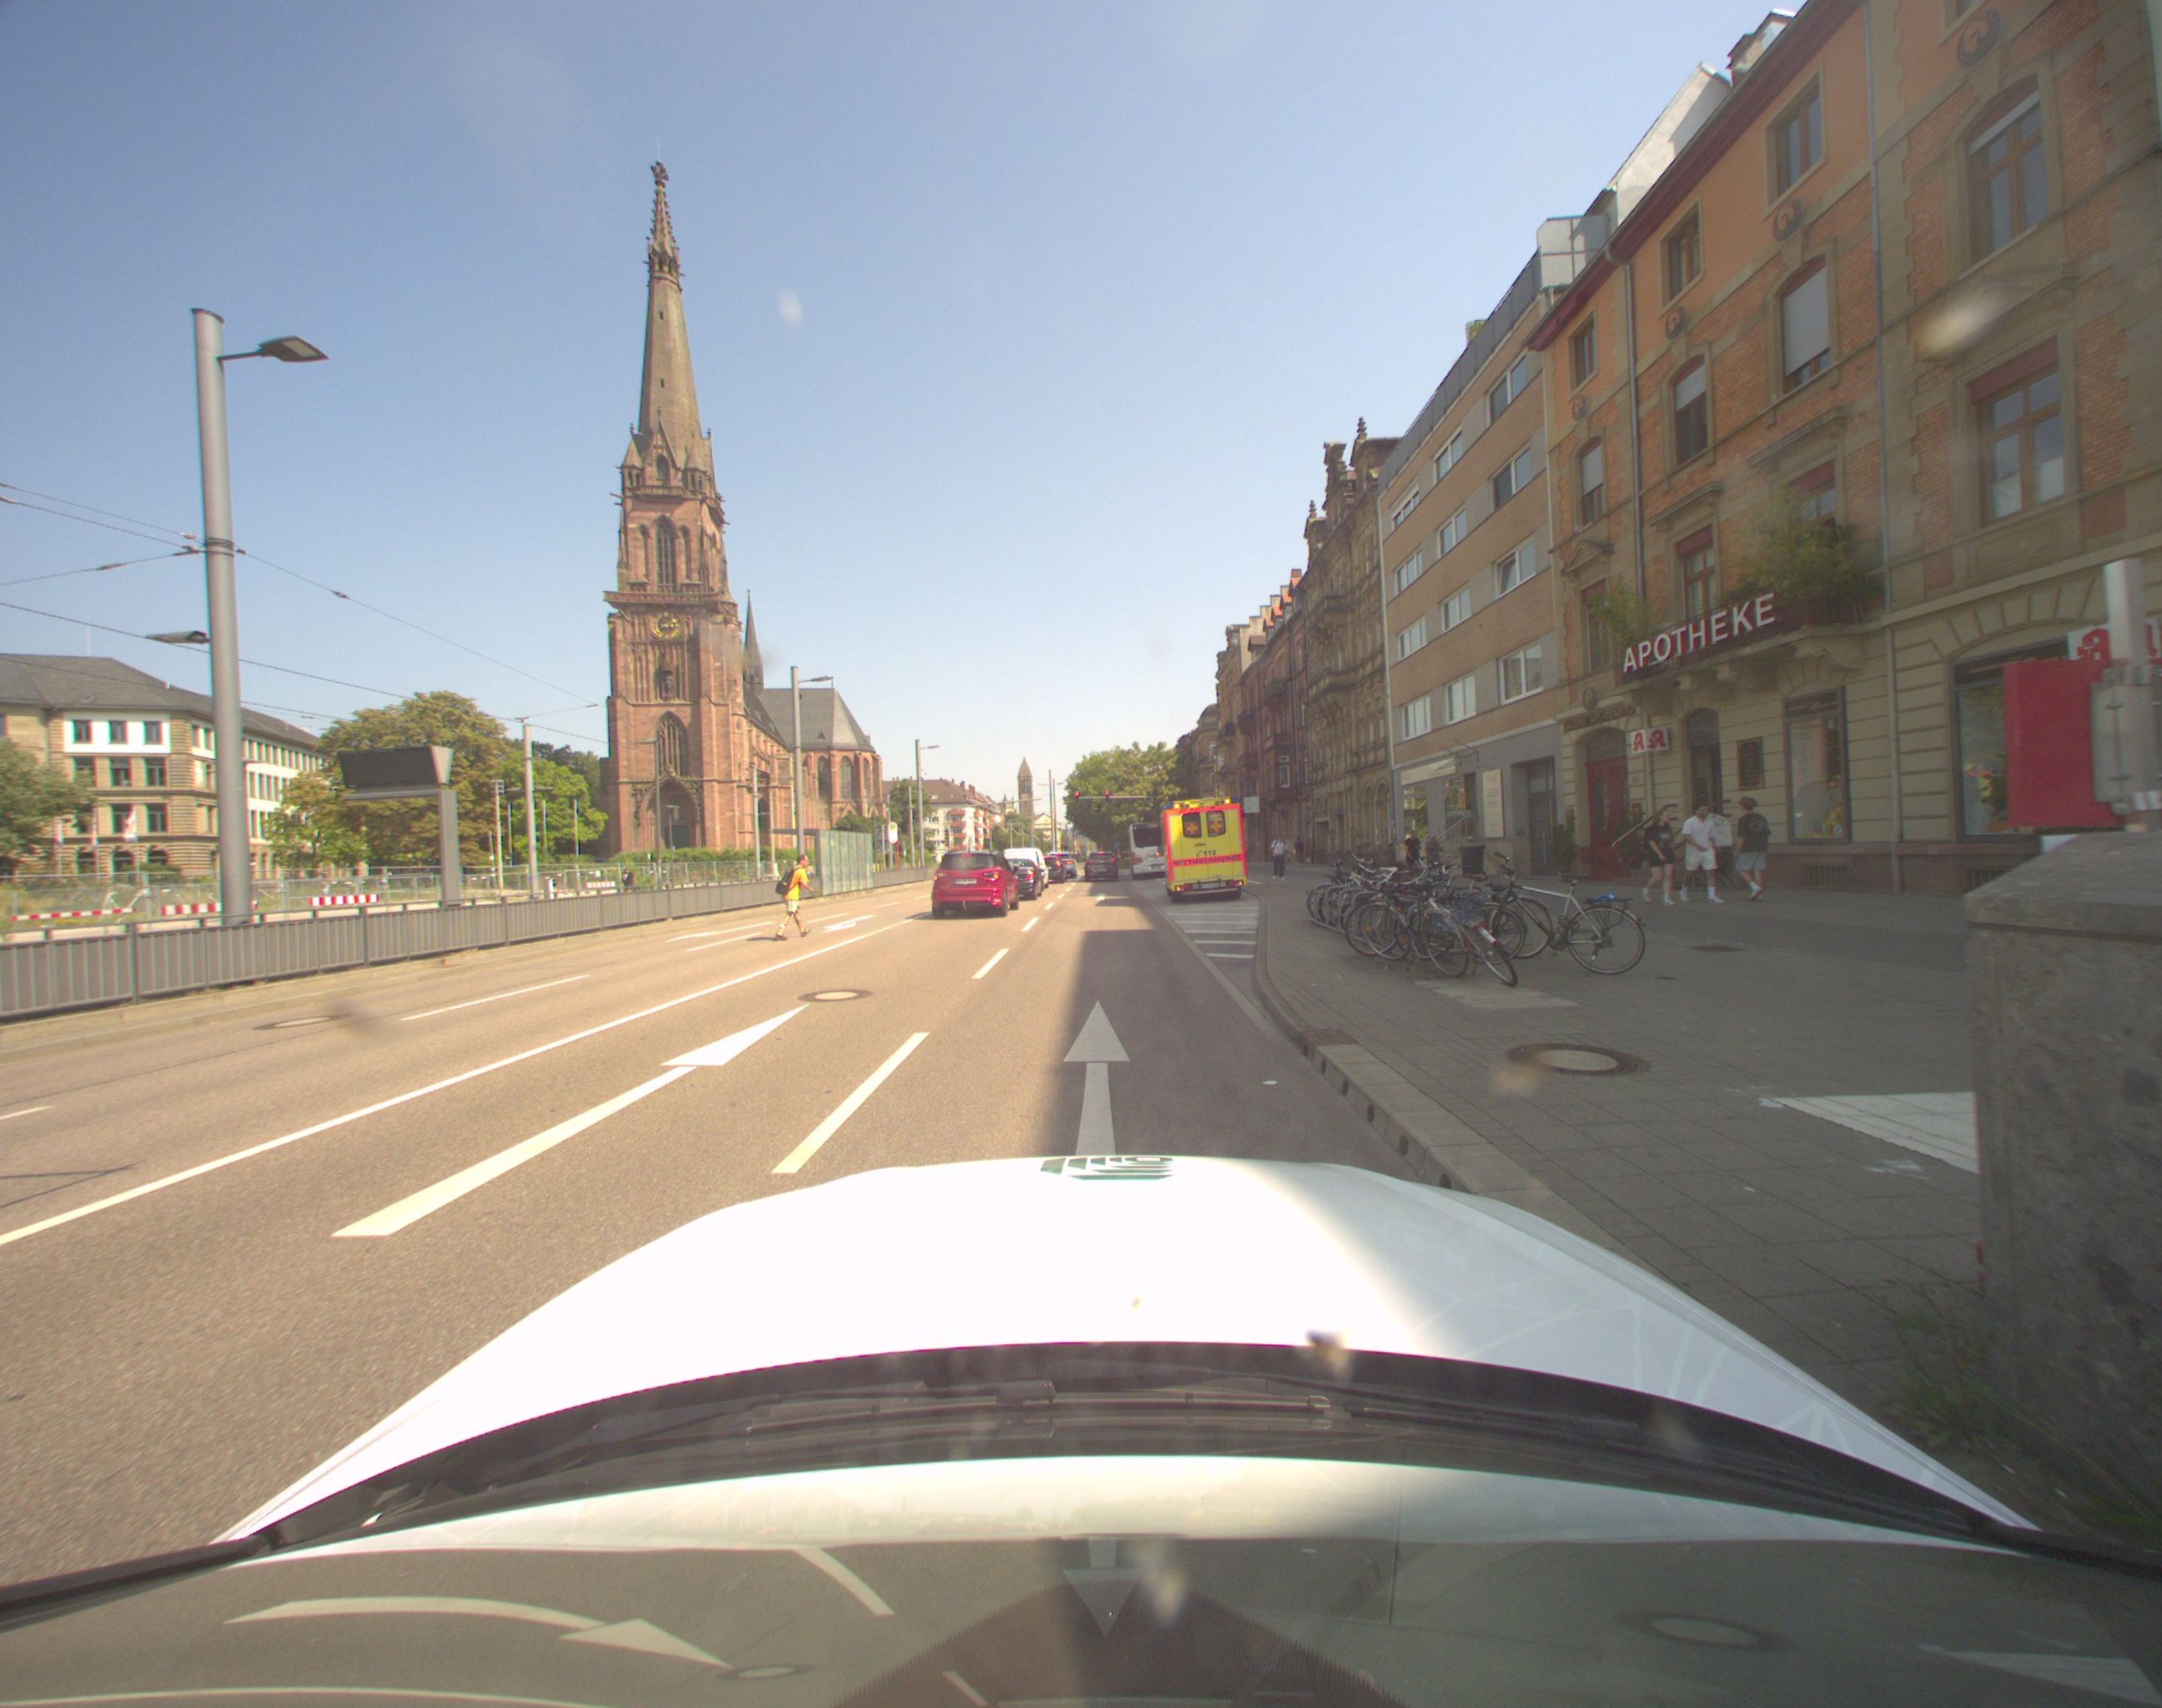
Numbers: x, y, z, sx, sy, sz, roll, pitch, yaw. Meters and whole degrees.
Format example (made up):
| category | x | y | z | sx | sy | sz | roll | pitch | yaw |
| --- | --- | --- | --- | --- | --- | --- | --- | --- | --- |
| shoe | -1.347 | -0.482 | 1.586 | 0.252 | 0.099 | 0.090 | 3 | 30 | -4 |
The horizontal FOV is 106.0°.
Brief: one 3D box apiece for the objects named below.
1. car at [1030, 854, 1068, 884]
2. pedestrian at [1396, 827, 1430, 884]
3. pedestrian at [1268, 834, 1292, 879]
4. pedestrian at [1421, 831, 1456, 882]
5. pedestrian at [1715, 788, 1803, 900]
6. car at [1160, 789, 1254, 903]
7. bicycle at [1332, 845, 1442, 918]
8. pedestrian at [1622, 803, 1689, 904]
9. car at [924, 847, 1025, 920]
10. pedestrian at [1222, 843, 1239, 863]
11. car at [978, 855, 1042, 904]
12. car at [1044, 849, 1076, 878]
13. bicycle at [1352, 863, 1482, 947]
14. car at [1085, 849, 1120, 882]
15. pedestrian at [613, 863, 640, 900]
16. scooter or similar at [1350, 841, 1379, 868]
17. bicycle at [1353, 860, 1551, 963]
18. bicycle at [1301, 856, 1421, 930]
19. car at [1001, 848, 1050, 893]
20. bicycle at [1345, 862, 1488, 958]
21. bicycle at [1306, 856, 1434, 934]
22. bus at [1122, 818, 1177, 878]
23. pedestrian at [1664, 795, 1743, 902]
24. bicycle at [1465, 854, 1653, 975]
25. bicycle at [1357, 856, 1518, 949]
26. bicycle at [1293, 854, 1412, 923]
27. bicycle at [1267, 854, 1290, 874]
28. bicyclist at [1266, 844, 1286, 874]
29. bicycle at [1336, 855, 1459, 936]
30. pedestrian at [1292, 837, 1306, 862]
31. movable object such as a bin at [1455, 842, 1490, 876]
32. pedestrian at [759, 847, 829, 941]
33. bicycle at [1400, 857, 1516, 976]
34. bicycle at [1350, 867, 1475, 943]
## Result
| category | x | y | z | sx | sy | sz | roll | pitch | yaw |
| --- | --- | --- | --- | --- | --- | --- | --- | --- | --- |
| car | -1.671 | 0.791 | 43.719 | 1.784 | 1.472 | 3.999 | -2 | -1 | 0 |
| pedestrian | 10.111 | 0.043 | 24.836 | 0.641 | 1.685 | 0.789 | -3 | 0 | 1 |
| pedestrian | 7.500 | 0.081 | 30.739 | 0.690 | 1.667 | 0.606 | -2 | 0 | 27 |
| pedestrian | 10.834 | 0.083 | 24.689 | 0.641 | 1.493 | 0.789 | -3 | 0 | 1 |
| pedestrian | 11.743 | -0.167 | 14.125 | 0.840 | 1.846 | 0.684 | -4 | 0 | -8 |
| car | 3.608 | -0.228 | 24.461 | 2.288 | 2.888 | 5.608 | -4 | 0 | 5 |
| bicycle | 5.338 | 0.473 | 14.264 | 1.665 | 1.215 | 0.645 | -2 | 0 | 6 |
| pedestrian | 10.348 | -0.008 | 14.689 | 0.575 | 1.750 | 0.679 | -5 | 0 | 1 |
| car | -2.589 | 0.669 | 20.761 | 1.755 | 1.618 | 4.086 | -3 | 0 | 3 |
| pedestrian | 13.879 | -0.134 | 75.561 | 1.244 | 1.751 | 1.527 | -3 | 2 | 2 |
| car | -2.368 | 0.817 | 27.959 | 1.784 | 1.431 | 3.999 | -3 | 0 | 0 |
| car | -1.295 | 0.593 | 51.546 | 1.784 | 1.698 | 3.999 | -2 | -1 | 0 |
| bicycle | 4.391 | 0.660 | 10.686 | 1.531 | 1.016 | 0.365 | -2 | 1 | 1 |
| car | 1.129 | 0.617 | 45.024 | 1.784 | 1.677 | 3.999 | -2 | -1 | 0 |
| pedestrian | -22.458 | 1.358 | 40.260 | 0.826 | 1.752 | 0.721 | -3 | -1 | 2 |
| scooter or similar | 12.860 | 0.034 | 36.965 | 0.514 | 1.196 | 1.296 | -2 | 0 | -18 |
| bicycle | 4.228 | 0.639 | 9.322 | 2.116 | 1.071 | 0.381 | -2 | 1 | -3 |
| bicycle | 4.408 | 0.602 | 12.877 | 1.652 | 1.072 | 0.644 | -2 | 0 | 1 |
| car | -2.343 | 0.694 | 35.381 | 1.784 | 1.780 | 3.999 | -2 | -1 | 0 |
| bicycle | 3.984 | 0.655 | 9.706 | 1.531 | 1.071 | 0.365 | -2 | 1 | 1 |
| bicycle | 4.281 | 0.593 | 12.132 | 1.652 | 1.071 | 0.644 | -2 | 1 | 1 |
| bus | 3.934 | -0.319 | 49.425 | 2.524 | 3.031 | 12.440 | -3 | 0 | 2 |
| pedestrian | 11.003 | -0.101 | 14.427 | 0.597 | 1.795 | 0.880 | -5 | 0 | 1 |
| bicycle | 4.916 | 0.582 | 8.432 | 1.544 | 1.119 | 0.696 | -1 | 1 | 43 |
| bicycle | 4.434 | 0.595 | 10.166 | 1.828 | 1.071 | 0.365 | -2 | 1 | 1 |
| bicycle | 4.506 | 0.567 | 13.608 | 1.767 | 1.072 | 0.645 | -2 | 0 | 6 |
| bicycle | 9.037 | 0.448 | 37.360 | 0.587 | 0.855 | 1.775 | -3 | 0 | 0 |
| bicyclist | 8.982 | 0.235 | 37.581 | 0.750 | 1.322 | 0.582 | -3 | 0 | 1 |
| bicycle | 4.468 | 0.579 | 11.538 | 1.531 | 1.071 | 0.472 | -2 | 1 | 1 |
| pedestrian | 13.816 | -0.278 | 51.609 | 0.621 | 1.593 | 0.695 | -3 | 0 | -4 |
| movable object such as a bin | 12.616 | 0.174 | 26.248 | 0.651 | 1.047 | 0.755 | -3 | 0 | -42 |
| pedestrian | -5.622 | 0.767 | 15.962 | 1.073 | 1.752 | 0.755 | -2 | -1 | -34 |
| bicycle | 3.785 | 0.579 | 8.289 | 0.474 | 1.071 | 1.506 | -3 | 0 | 2 |
| bicycle | 4.483 | 0.681 | 11.048 | 1.531 | 0.952 | 0.365 | -2 | 1 | 1 |
